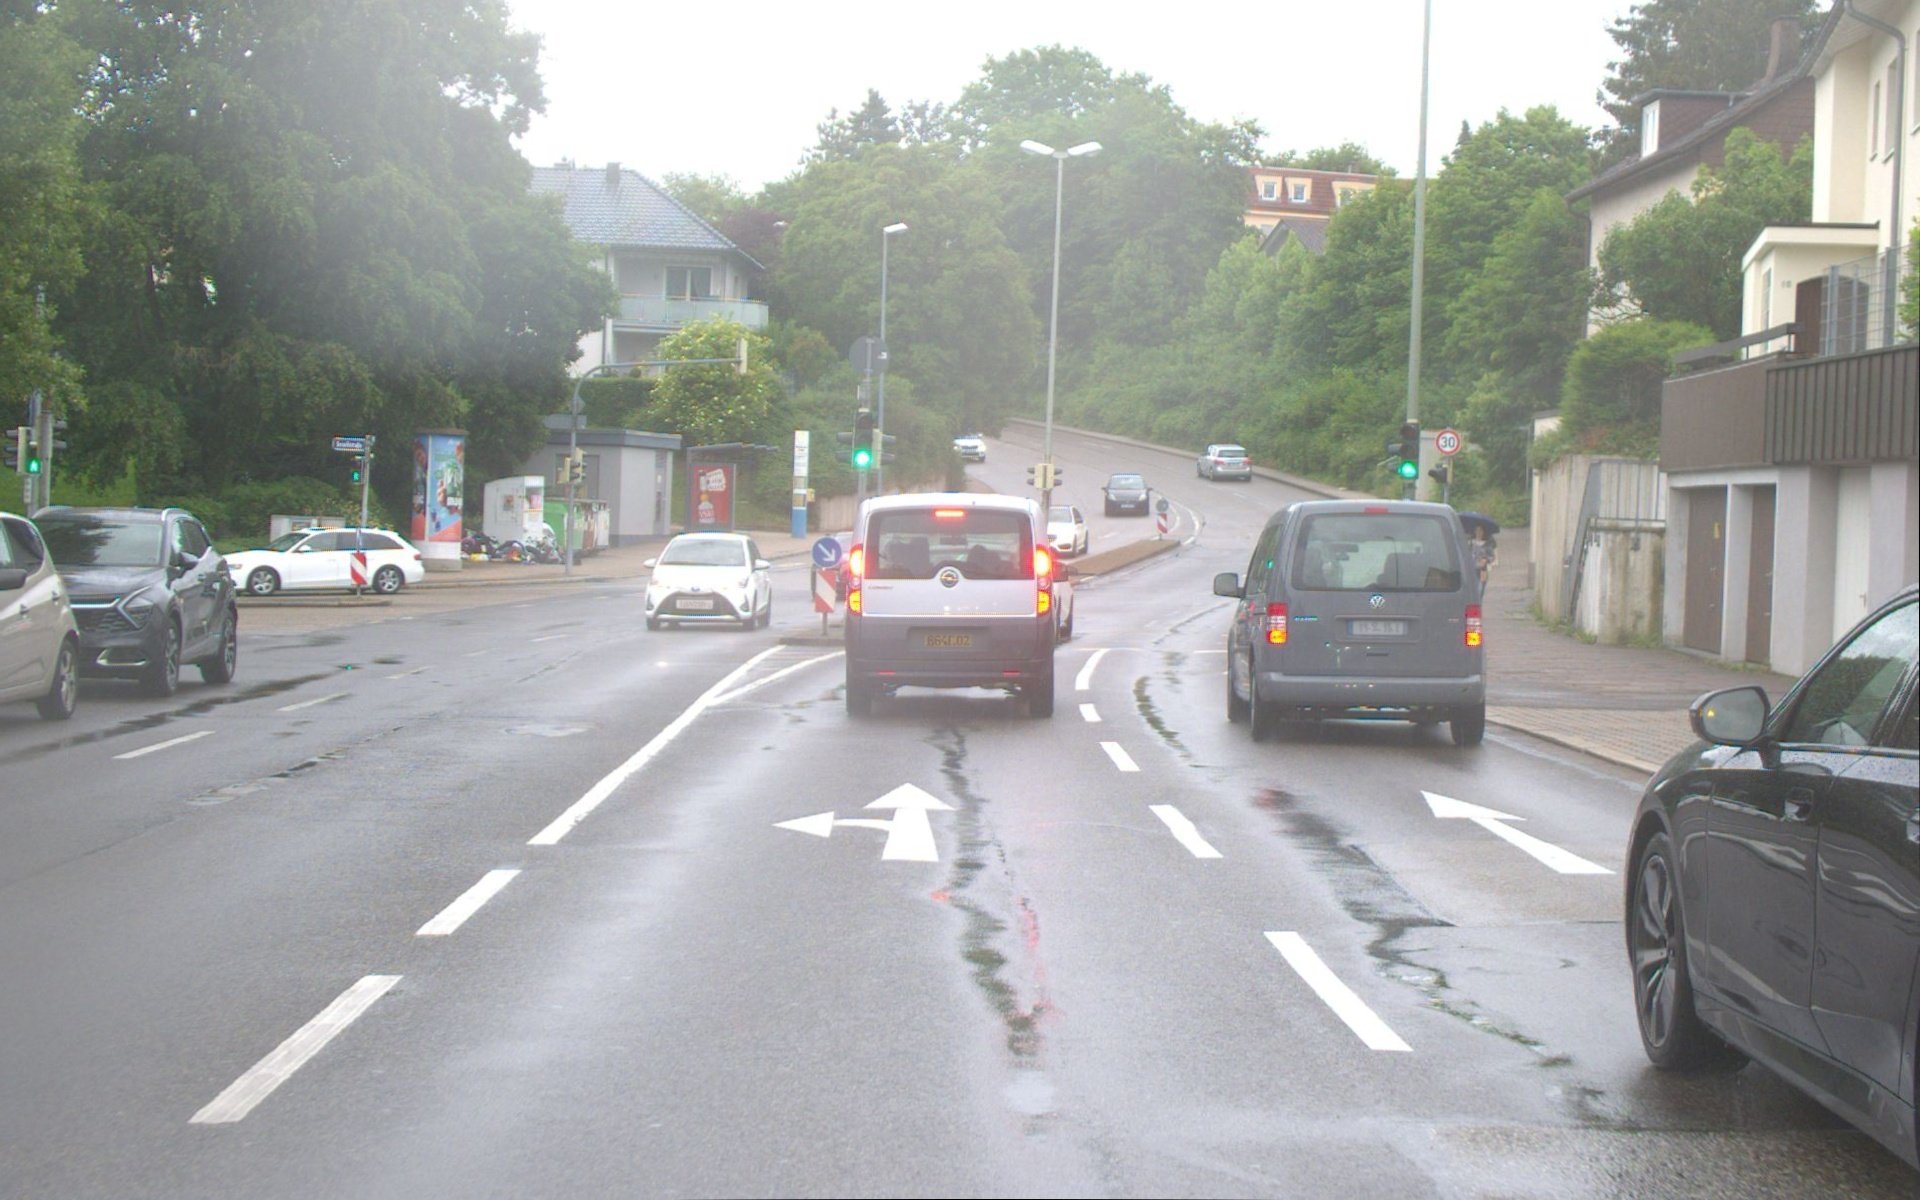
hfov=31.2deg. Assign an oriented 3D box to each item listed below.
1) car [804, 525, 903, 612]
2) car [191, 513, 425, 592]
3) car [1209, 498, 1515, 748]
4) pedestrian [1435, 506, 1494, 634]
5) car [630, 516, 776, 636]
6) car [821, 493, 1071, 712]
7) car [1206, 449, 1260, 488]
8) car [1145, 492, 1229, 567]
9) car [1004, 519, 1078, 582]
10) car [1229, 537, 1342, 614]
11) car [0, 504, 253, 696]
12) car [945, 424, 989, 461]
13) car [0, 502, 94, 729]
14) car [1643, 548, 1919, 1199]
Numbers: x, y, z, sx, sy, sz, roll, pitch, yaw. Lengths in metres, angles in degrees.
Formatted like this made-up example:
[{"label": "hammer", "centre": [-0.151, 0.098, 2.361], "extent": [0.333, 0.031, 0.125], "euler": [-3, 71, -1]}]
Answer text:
[{"label": "car", "centre": [-2.238, -0.695, 73.468], "extent": [1.993, 1.766, 4.000], "euler": [2, 1, -1]}, {"label": "car", "centre": [-13.722, -0.995, 72.405], "extent": [4.381, 1.542, 2.000], "euler": [1, 1, -32]}, {"label": "car", "centre": [3.054, 0.132, 26.886], "extent": [1.838, 1.761, 4.000], "euler": [2, 1, -1]}, {"label": "pedestrian", "centre": [7.962, -0.479, 54.273], "extent": [0.873, 2.007, 0.878], "euler": [1, 1, 7]}, {"label": "car", "centre": [-4.006, -0.404, 54.161], "extent": [1.993, 1.766, 4.000], "euler": [2, 1, -1]}, {"label": "car", "centre": [-0.130, -0.018, 30.034], "extent": [1.993, 1.731, 4.000], "euler": [2, 1, -1]}, {"label": "car", "centre": [12.112, -5.828, 152.720], "extent": [1.993, 1.579, 4.000], "euler": [2, 1, -1]}, {"label": "car", "centre": [7.268, -2.277, 109.606], "extent": [2.522, 2.006, 5.608], "euler": [2, 4, 4]}, {"label": "car", "centre": [2.368, -1.464, 101.153], "extent": [1.993, 1.766, 4.000], "euler": [2, 1, -1]}, {"label": "car", "centre": [7.014, -0.550, 74.465], "extent": [1.993, 1.573, 4.000], "euler": [2, 1, -1]}, {"label": "car", "centre": [-7.708, -0.041, 30.914], "extent": [1.884, 1.579, 4.000], "euler": [2, 1, -1]}, {"label": "car", "centre": [0.308, -7.457, 163.267], "extent": [1.993, 1.579, 4.000], "euler": [2, 1, -1]}, {"label": "car", "centre": [-7.624, 0.074, 24.554], "extent": [1.884, 1.579, 4.000], "euler": [2, 1, -1]}, {"label": "car", "centre": [2.933, 0.652, 7.885], "extent": [1.993, 1.478, 4.000], "euler": [2, 1, 2]}]
